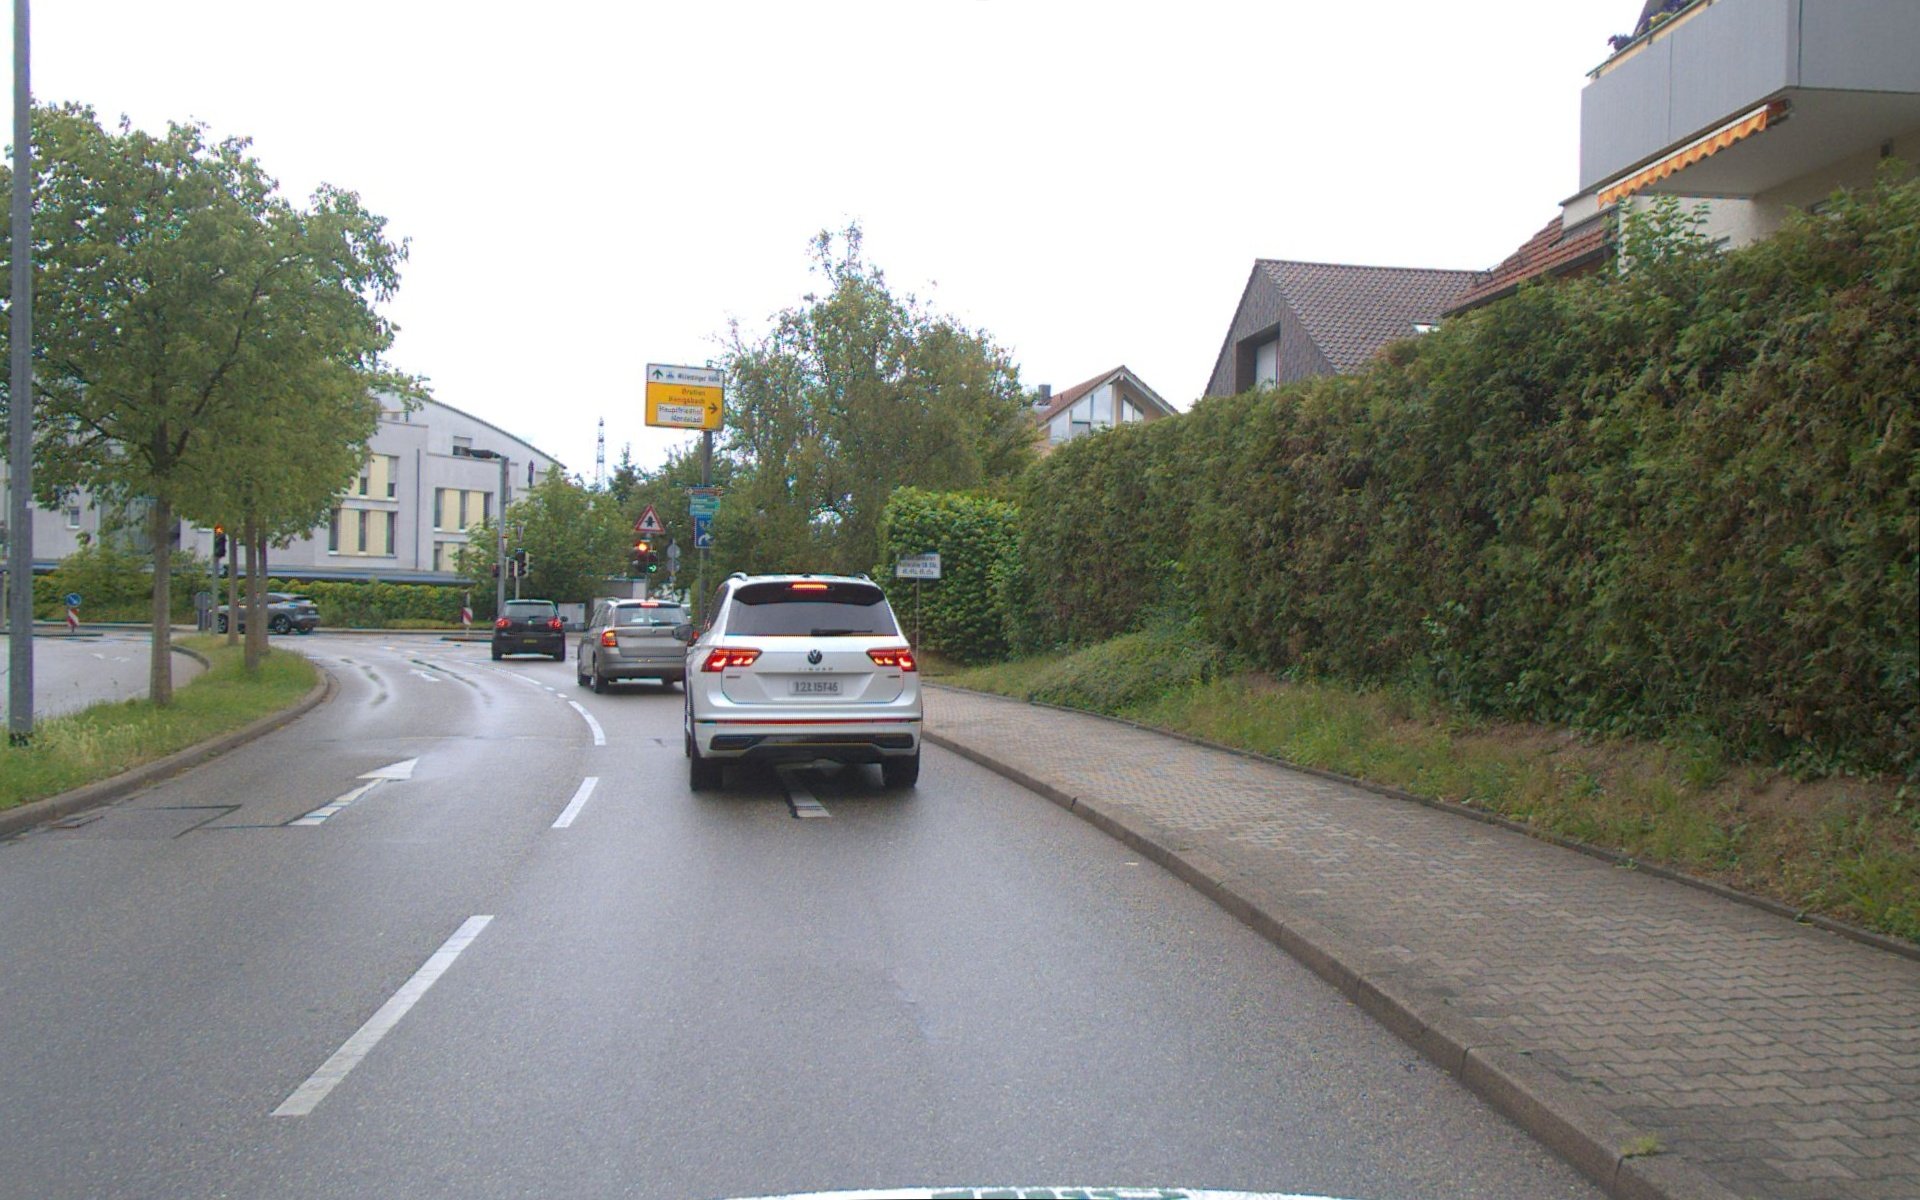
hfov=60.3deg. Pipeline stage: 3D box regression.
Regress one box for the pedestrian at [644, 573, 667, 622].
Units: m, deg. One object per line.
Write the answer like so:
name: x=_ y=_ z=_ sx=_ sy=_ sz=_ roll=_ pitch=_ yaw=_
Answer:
pedestrian: x=-12.970 y=-0.118 z=70.370 sx=0.789 sy=2.048 sz=0.843 roll=-1 pitch=3 yaw=-26

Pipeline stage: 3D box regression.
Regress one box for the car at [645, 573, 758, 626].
car: x=-10.288 y=-0.022 z=65.877 sx=3.941 sy=1.788 sz=1.983 roll=3 pitch=2 yaw=-28

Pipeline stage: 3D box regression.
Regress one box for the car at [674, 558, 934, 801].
car: x=-1.358 y=0.559 z=14.128 sx=1.884 sy=1.752 sz=4.259 roll=0 pitch=0 yaw=-6

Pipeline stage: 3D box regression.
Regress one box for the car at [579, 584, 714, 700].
car: x=-5.234 y=0.631 z=27.255 sx=1.737 sy=1.535 sz=3.983 roll=4 pitch=2 yaw=-17

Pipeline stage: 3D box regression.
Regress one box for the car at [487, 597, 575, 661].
car: x=-10.684 y=0.679 z=41.010 sx=1.823 sy=1.454 sz=3.978 roll=0 pitch=0 yaw=-19

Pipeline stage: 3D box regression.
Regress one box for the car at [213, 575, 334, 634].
car: x=-27.395 y=0.149 z=66.072 sx=3.903 sy=2.048 sz=1.983 roll=4 pitch=1 yaw=9
